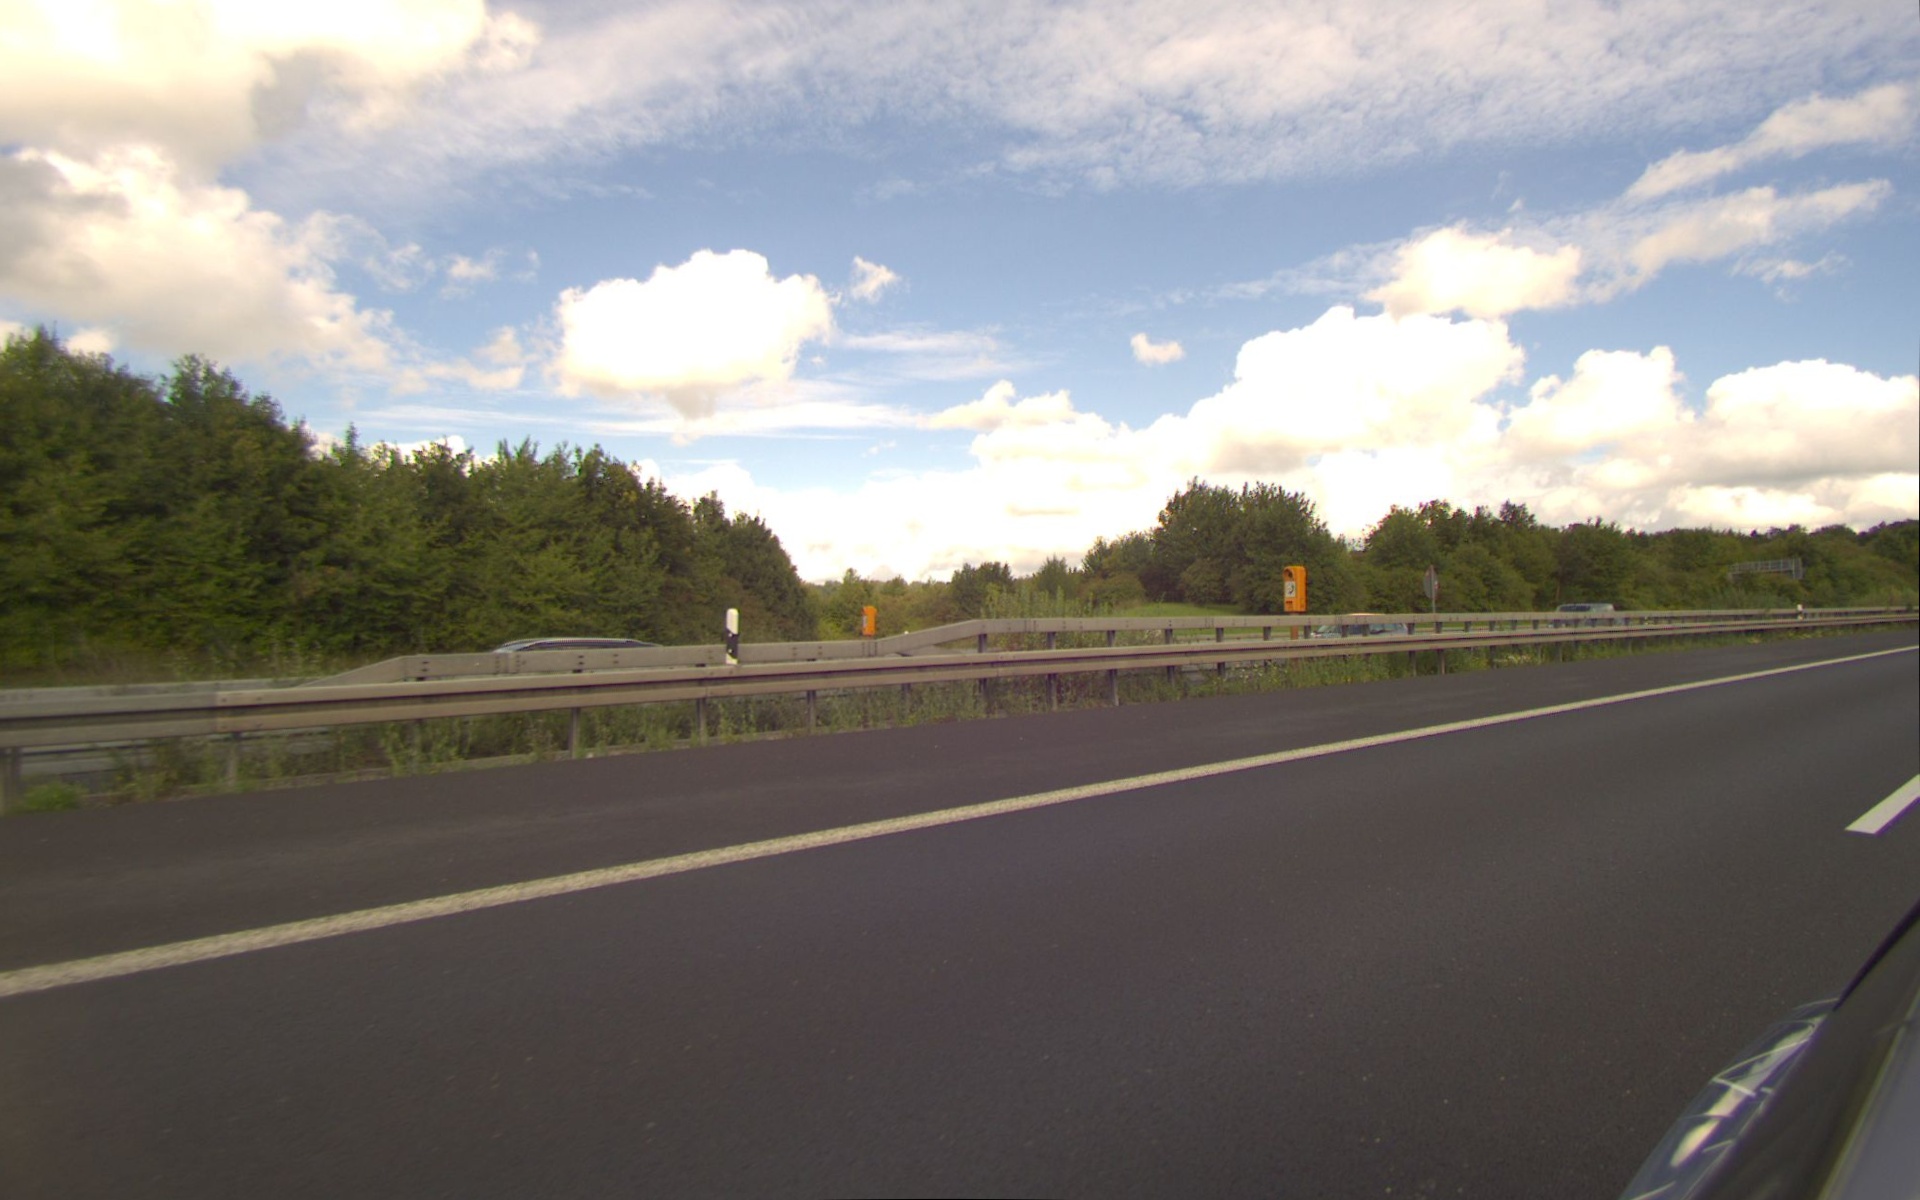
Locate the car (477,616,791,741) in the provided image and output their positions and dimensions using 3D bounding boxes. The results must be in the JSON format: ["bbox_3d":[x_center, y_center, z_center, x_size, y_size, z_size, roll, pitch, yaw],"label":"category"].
[{"bbox_3d":[-4.930,1.090,15.595,4.265,1.591,1.788,0,0,-39],"label":"car"}]

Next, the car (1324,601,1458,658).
[{"bbox_3d":[13.101,0.846,30.652,4.592,1.538,1.788,-1,0,-39],"label":"car"}]

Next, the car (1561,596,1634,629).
[{"bbox_3d":[32.351,0.591,51.339,4.264,1.591,1.788,0,0,-38],"label":"car"}]
